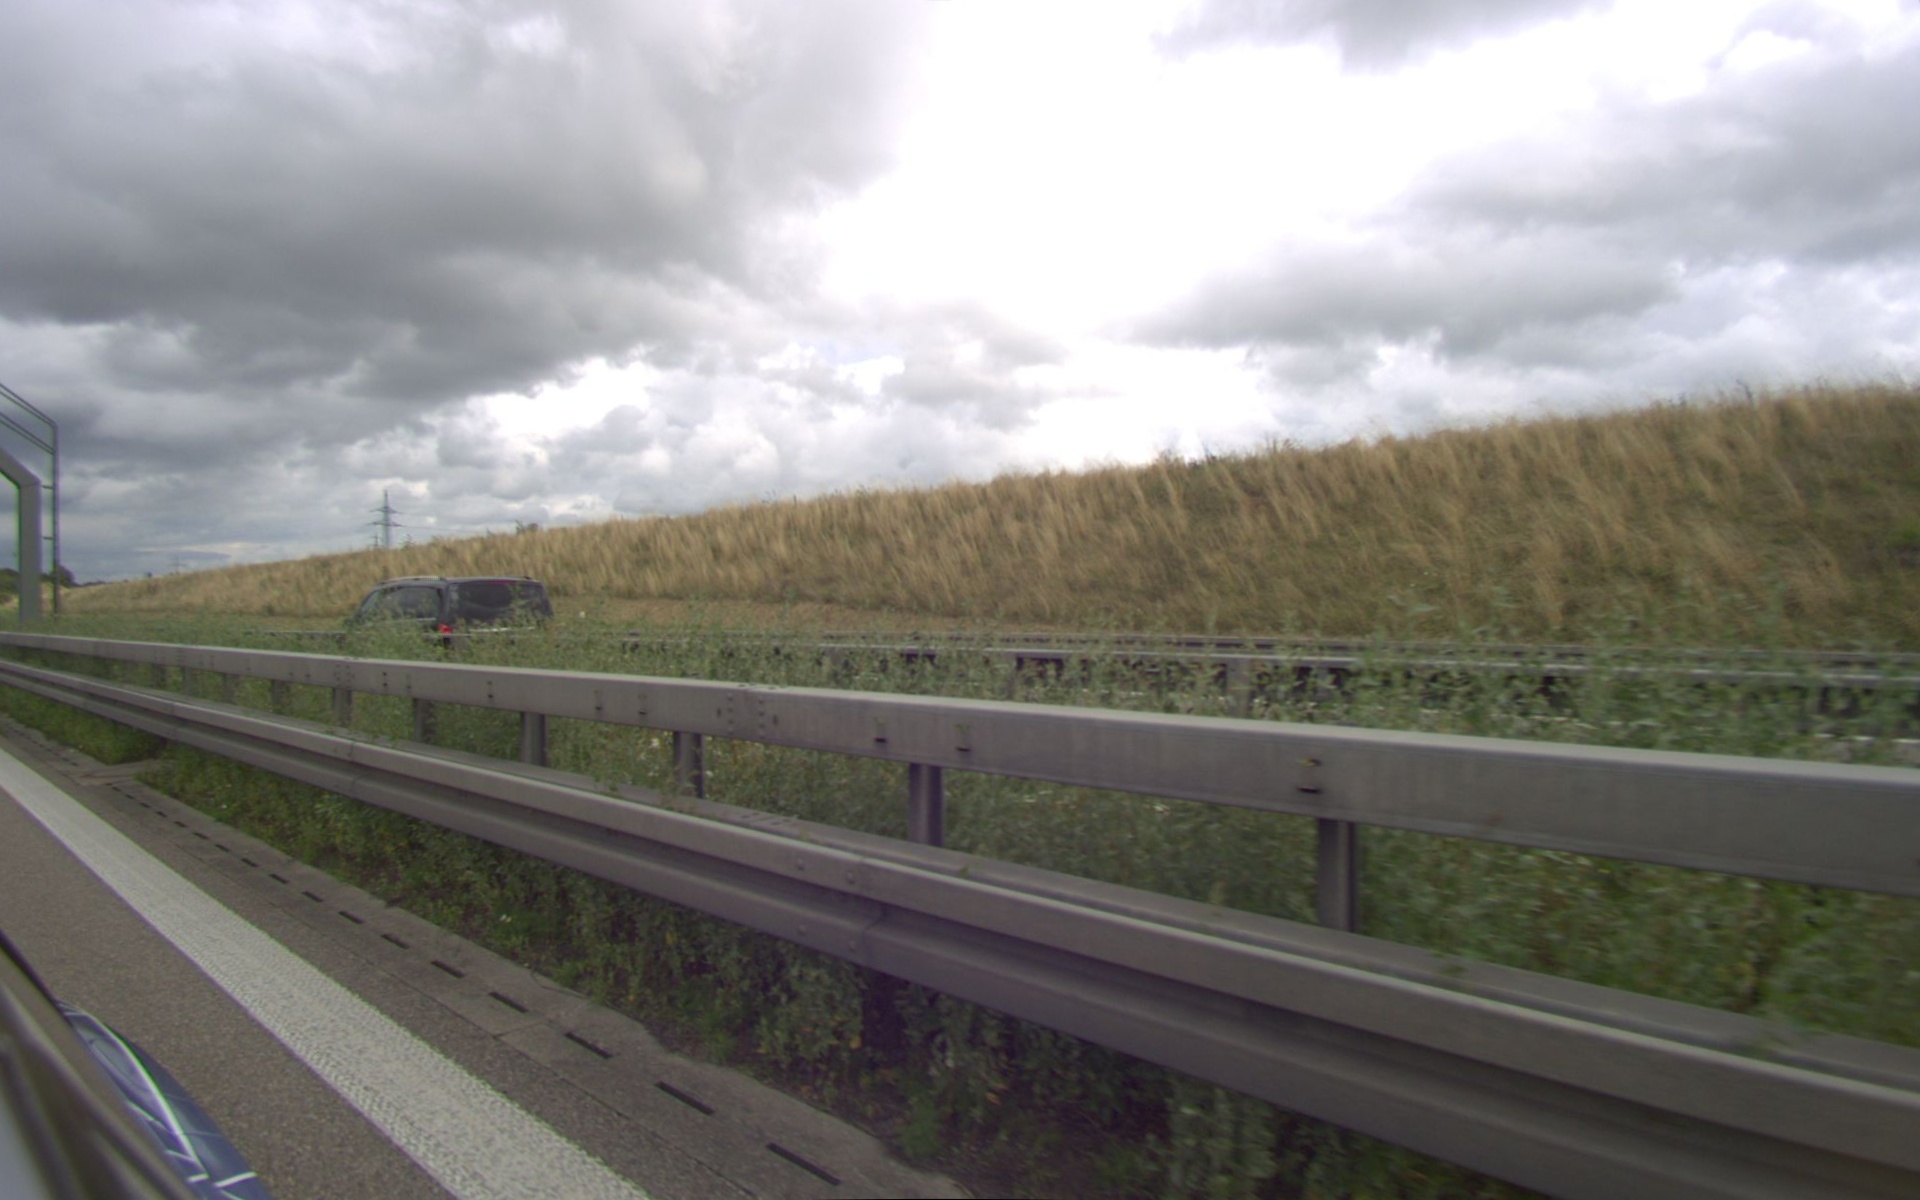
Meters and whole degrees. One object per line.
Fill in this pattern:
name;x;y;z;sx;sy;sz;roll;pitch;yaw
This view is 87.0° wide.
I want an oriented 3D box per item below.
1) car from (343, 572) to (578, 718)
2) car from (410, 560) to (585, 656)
car;-8.038;0.615;16.148;3.998;2.029;1.973;0;1;41
car;-10.871;0.201;23.632;4.705;2.029;1.973;-1;0;41
